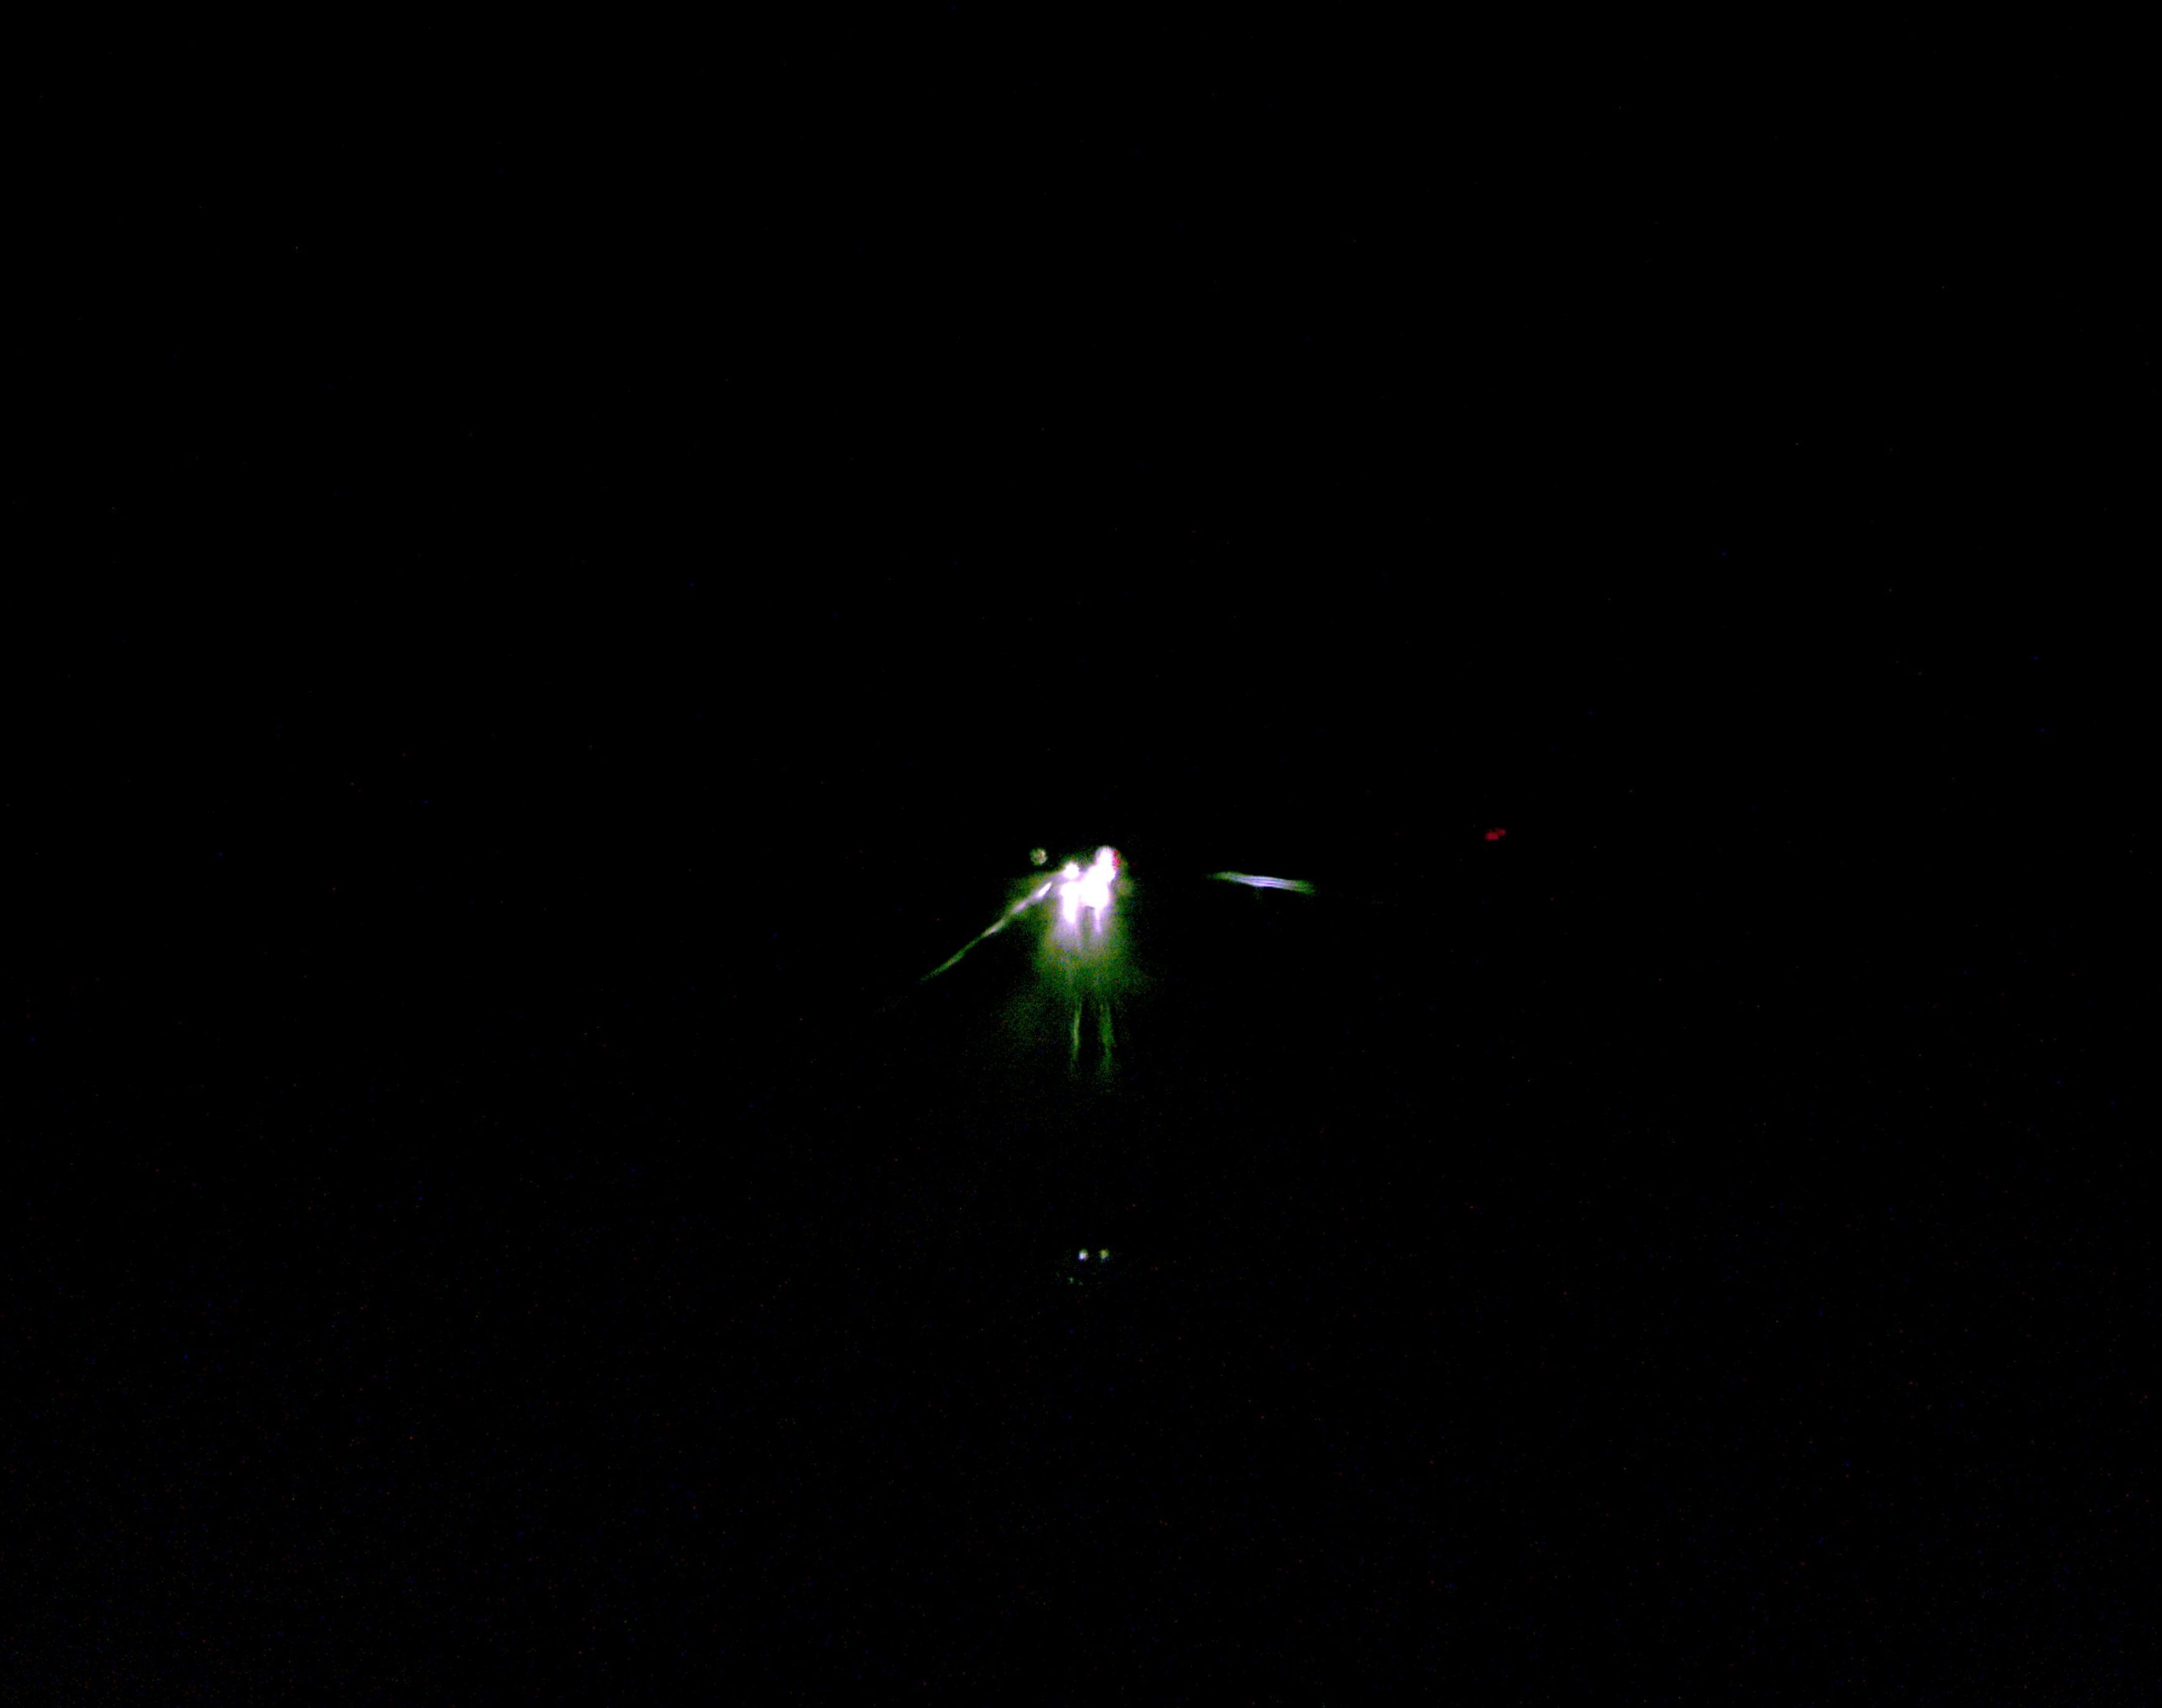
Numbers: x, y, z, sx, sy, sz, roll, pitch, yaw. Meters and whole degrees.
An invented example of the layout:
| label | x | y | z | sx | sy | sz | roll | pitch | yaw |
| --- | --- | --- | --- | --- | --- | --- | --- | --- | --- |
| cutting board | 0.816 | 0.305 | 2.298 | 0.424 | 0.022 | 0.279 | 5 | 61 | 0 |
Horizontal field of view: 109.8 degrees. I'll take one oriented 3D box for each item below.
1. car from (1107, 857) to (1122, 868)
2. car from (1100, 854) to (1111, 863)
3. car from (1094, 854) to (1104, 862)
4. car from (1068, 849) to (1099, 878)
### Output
| label | x | y | z | sx | sy | sz | roll | pitch | yaw |
| --- | --- | --- | --- | --- | --- | --- | --- | --- | --- |
| car | 4.556 | 1.185 | 104.465 | 1.841 | 1.462 | 4.391 | -1 | 0 | -1 |
| car | 4.349 | 0.834 | 134.412 | 1.936 | 1.577 | 4.001 | 1 | -1 | 1 |
| car | 3.748 | 0.848 | 157.740 | 1.833 | 1.447 | 3.793 | 1 | -1 | 0 |
| car | 0.180 | 0.572 | 50.281 | 1.998 | 1.804 | 4.000 | -1 | 0 | 1 |
